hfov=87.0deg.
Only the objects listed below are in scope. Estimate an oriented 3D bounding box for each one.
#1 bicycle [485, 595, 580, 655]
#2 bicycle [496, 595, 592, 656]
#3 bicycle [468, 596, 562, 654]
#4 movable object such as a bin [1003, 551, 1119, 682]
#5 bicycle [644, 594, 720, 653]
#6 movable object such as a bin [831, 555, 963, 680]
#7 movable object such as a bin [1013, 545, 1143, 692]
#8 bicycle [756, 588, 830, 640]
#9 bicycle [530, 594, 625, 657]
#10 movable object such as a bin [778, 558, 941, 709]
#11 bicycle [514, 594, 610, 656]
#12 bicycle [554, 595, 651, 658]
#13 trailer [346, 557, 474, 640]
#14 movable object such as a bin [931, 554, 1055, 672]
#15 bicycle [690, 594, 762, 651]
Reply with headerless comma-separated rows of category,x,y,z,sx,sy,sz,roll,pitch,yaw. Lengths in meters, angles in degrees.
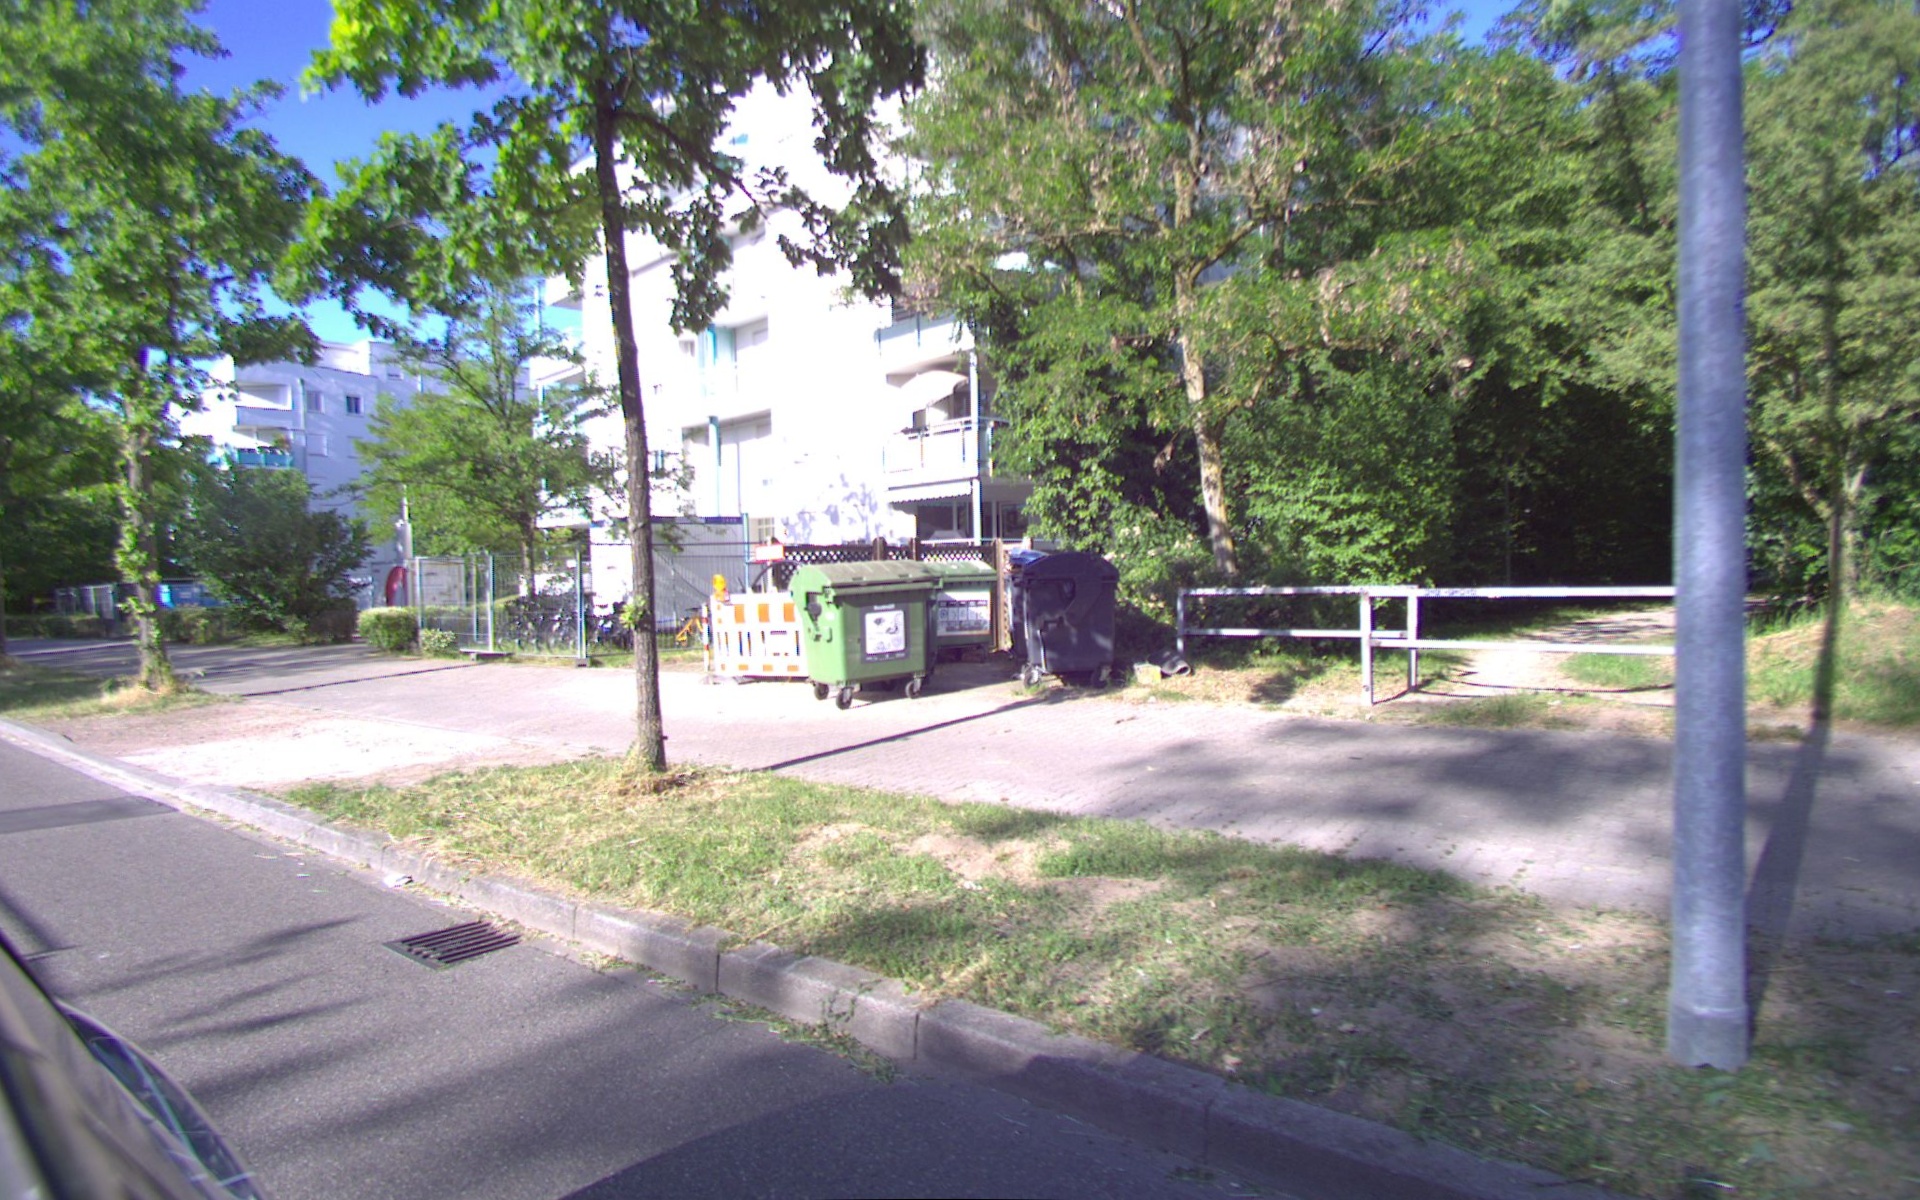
bicycle,-8.117,0.449,19.295,0.398,1.034,1.845,-1,2,26
bicycle,-7.770,0.449,18.972,0.398,1.034,1.828,-1,2,26
bicycle,-8.756,0.472,20.001,0.398,1.034,1.858,-1,2,26
movable object such as a bin,1.189,0.176,11.998,1.257,1.446,1.143,-2,1,6
bicycle,-5.093,0.414,18.517,1.698,1.034,0.395,0,2,39
movable object such as a bin,-0.823,0.195,12.768,1.251,1.446,1.330,-2,1,-22
movable object such as a bin,1.238,0.178,10.786,1.257,1.446,1.143,-2,1,6
bicycle,-3.627,0.284,22.085,0.401,1.034,1.676,0,2,45
bicycle,-6.969,0.435,18.542,0.398,1.034,1.827,-1,2,26
movable object such as a bin,-1.068,0.315,10.620,1.252,1.446,1.184,-2,1,-34
bicycle,-7.339,0.444,18.755,0.398,1.034,1.848,-1,2,26
bicycle,-6.483,0.461,18.458,0.398,1.034,1.904,-1,2,26
trailer,-15.849,-0.052,29.060,4.346,2.135,1.844,-1,3,43
movable object such as a bin,0.424,0.154,13.440,1.141,1.446,1.268,-2,1,-26
bicycle,-4.481,0.406,19.325,1.700,1.034,0.395,0,2,42
